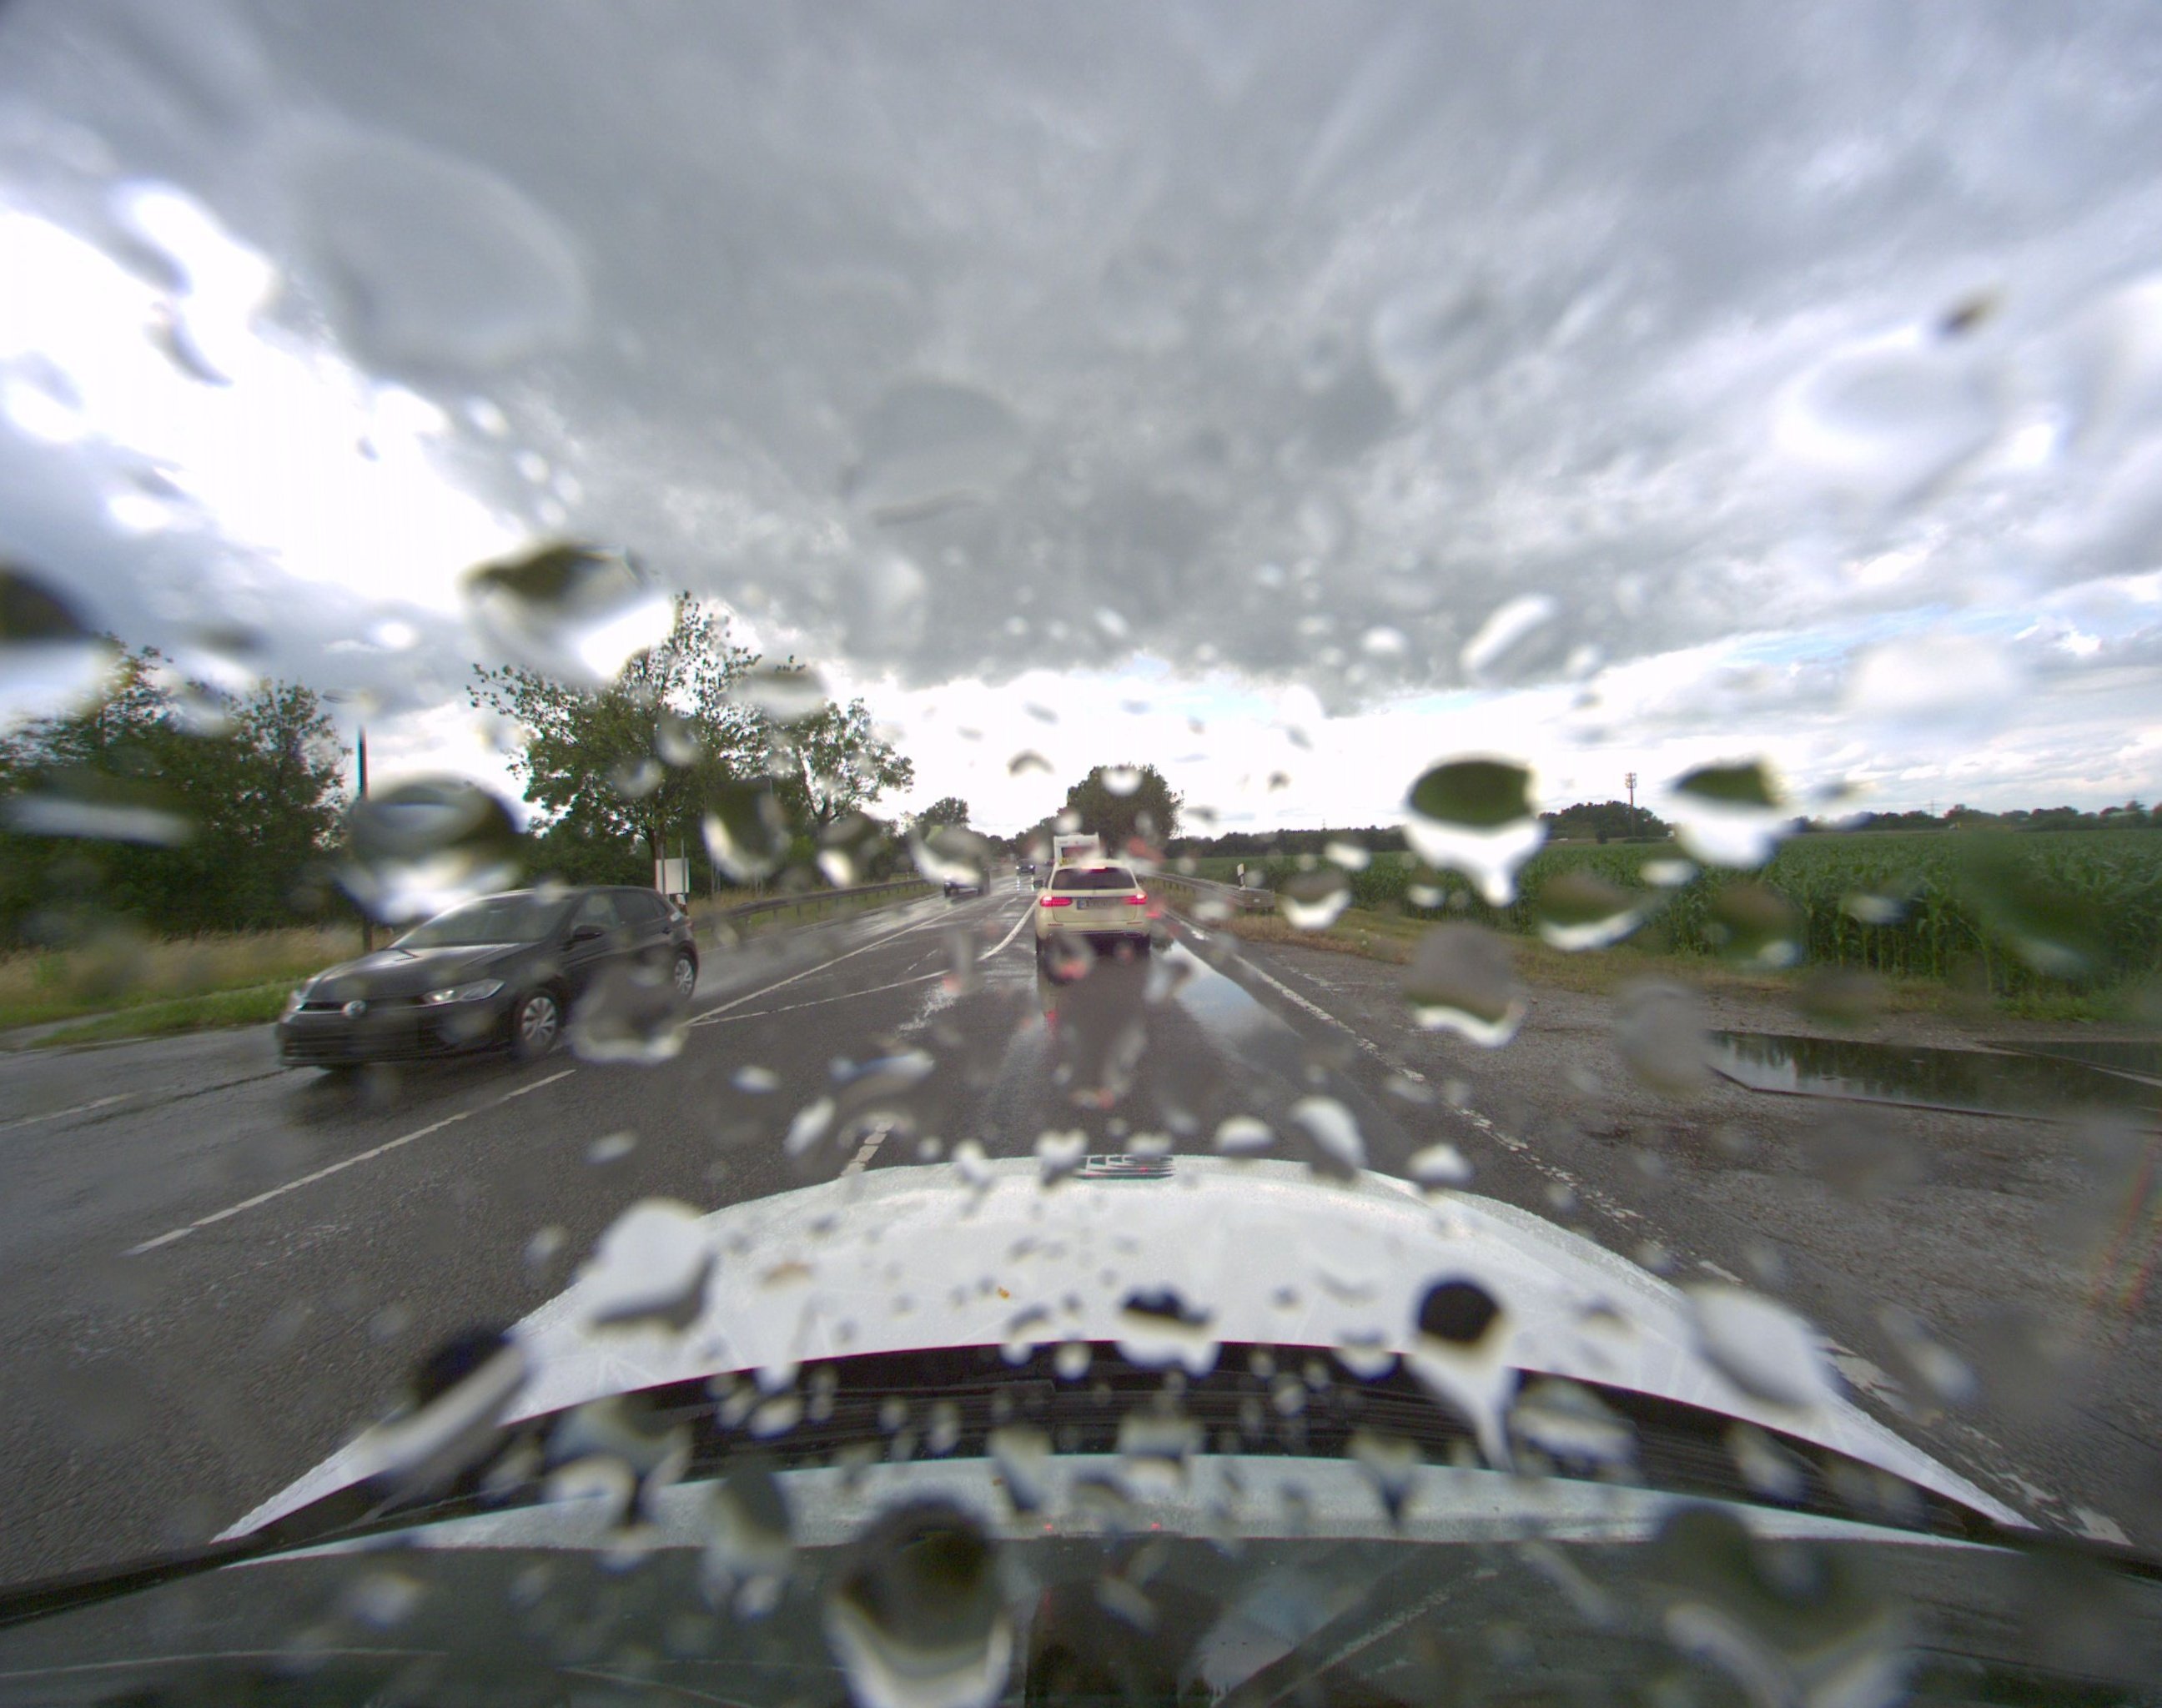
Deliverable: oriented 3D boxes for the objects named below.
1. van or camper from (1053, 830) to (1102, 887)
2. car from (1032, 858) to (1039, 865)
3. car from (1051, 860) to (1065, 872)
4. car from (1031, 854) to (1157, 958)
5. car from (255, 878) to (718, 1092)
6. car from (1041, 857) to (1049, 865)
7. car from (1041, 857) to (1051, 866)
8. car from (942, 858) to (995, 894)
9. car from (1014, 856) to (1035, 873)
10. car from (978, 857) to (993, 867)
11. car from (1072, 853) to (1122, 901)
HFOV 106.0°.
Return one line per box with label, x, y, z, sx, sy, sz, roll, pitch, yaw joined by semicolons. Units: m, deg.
van or camper;-0.190;0.203;42.844;2.343;2.680;5.766;-2;0;0
car;-13.037;2.154;233.349;1.991;2.013;3.992;-2;0;-6
car;-4.000;2.061;141.710;1.991;2.013;3.992;-2;0;-6
car;0.222;0.772;14.028;1.819;1.485;4.145;-1;0;1
car;-5.311;1.032;8.020;1.707;1.405;3.812;-3;0;-1
car;-8.877;1.741;201.522;1.989;2.013;3.995;-2;0;-3
car;-8.229;1.789;190.466;1.987;2.051;4.000;-2;0;0
car;-5.629;1.077;41.189;1.937;1.580;4.443;-3;0;0
car;-5.744;1.074;83.590;1.763;1.523;4.141;-4;0;0
car;-16.928;1.431;144.699;1.987;1.651;4.000;-2;0;1
car;0.526;0.757;29.167;1.622;1.529;3.931;-2;0;0
